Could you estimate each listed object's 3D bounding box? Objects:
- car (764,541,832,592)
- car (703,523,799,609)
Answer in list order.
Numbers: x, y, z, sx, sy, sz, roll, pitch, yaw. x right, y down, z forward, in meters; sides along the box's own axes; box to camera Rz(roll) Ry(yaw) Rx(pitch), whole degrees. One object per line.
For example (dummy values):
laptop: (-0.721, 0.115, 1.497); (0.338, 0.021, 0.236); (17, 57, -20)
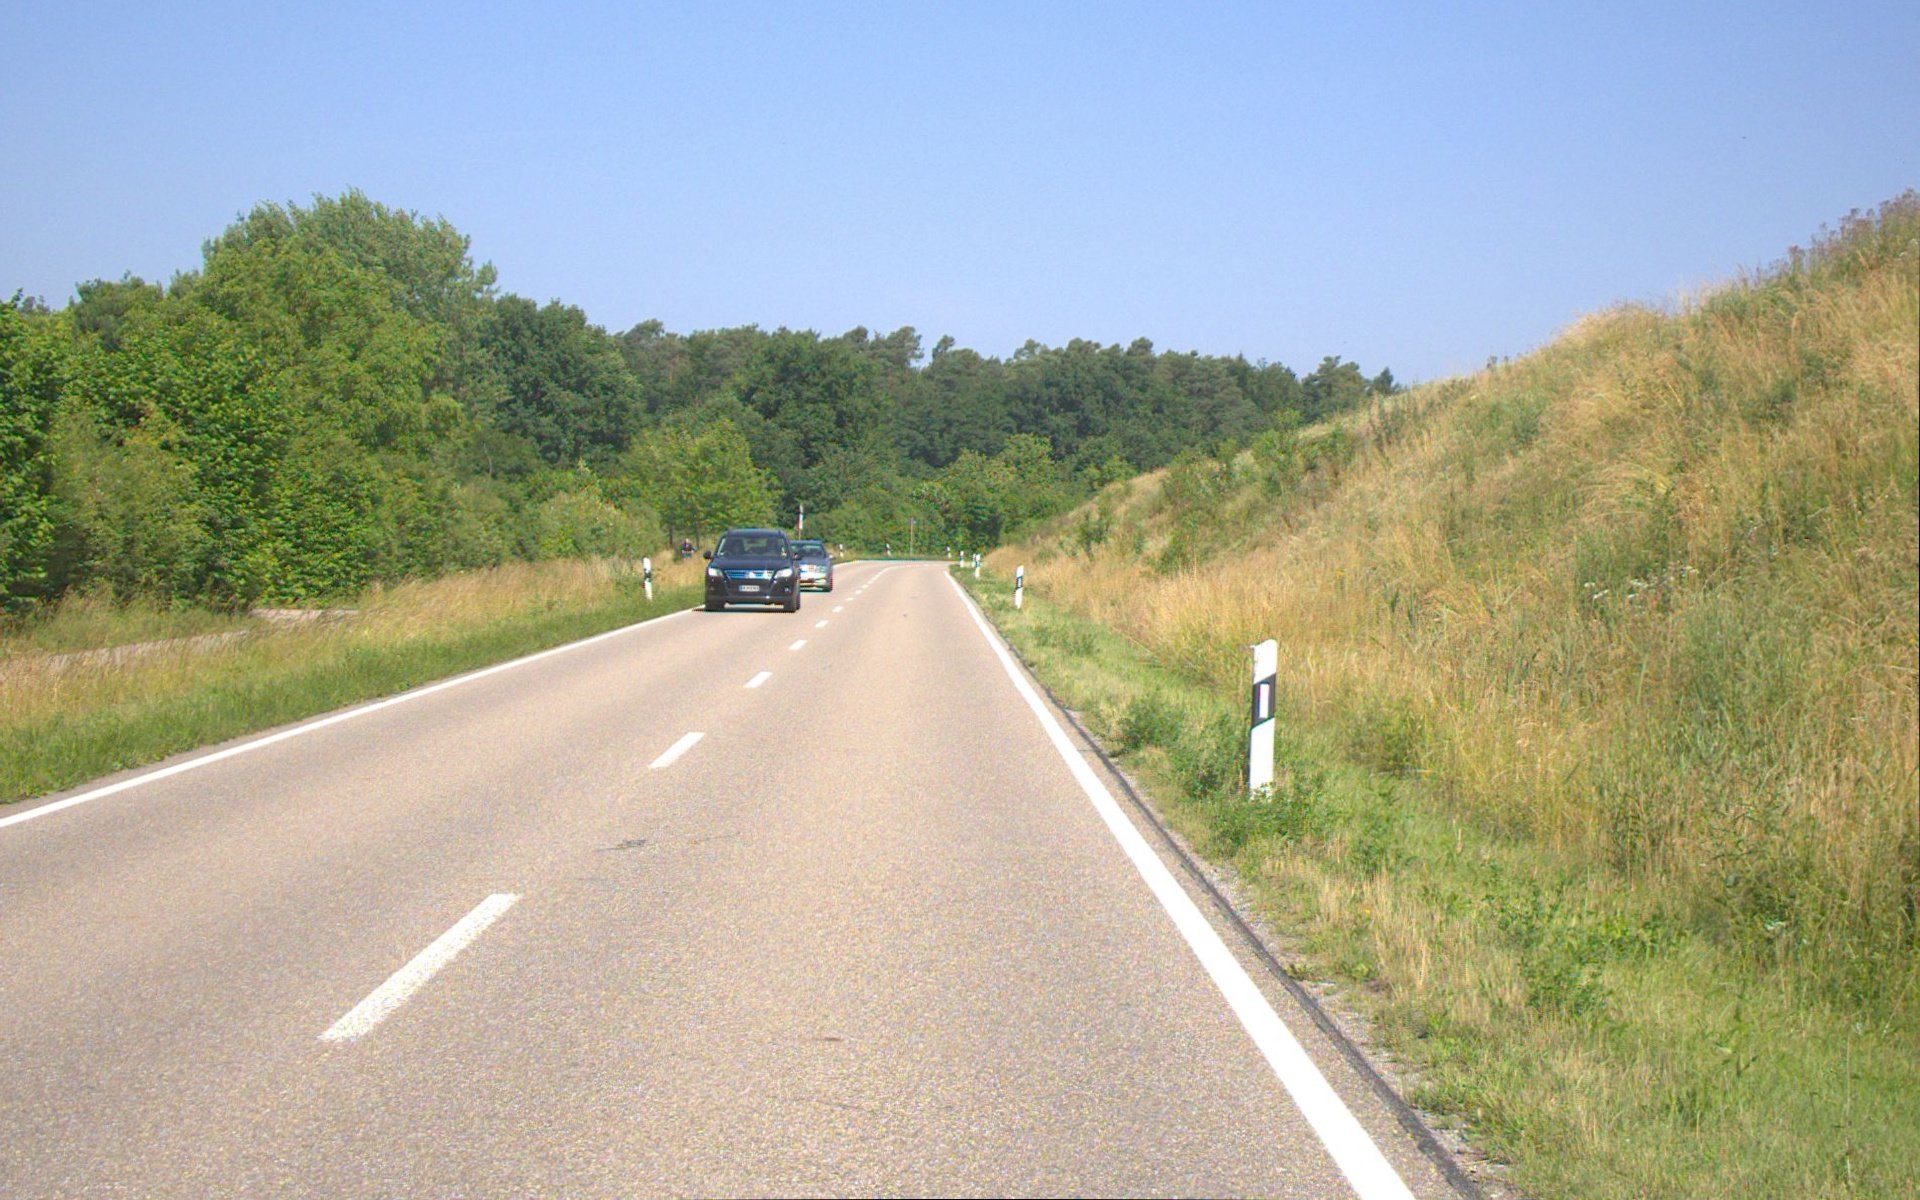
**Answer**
car: (-4.537, -0.941, 96.493); (1.722, 1.349, 4.000); (2, 1, -1)
car: (-4.176, -0.709, 69.115); (1.716, 1.641, 3.915); (1, 1, -1)
